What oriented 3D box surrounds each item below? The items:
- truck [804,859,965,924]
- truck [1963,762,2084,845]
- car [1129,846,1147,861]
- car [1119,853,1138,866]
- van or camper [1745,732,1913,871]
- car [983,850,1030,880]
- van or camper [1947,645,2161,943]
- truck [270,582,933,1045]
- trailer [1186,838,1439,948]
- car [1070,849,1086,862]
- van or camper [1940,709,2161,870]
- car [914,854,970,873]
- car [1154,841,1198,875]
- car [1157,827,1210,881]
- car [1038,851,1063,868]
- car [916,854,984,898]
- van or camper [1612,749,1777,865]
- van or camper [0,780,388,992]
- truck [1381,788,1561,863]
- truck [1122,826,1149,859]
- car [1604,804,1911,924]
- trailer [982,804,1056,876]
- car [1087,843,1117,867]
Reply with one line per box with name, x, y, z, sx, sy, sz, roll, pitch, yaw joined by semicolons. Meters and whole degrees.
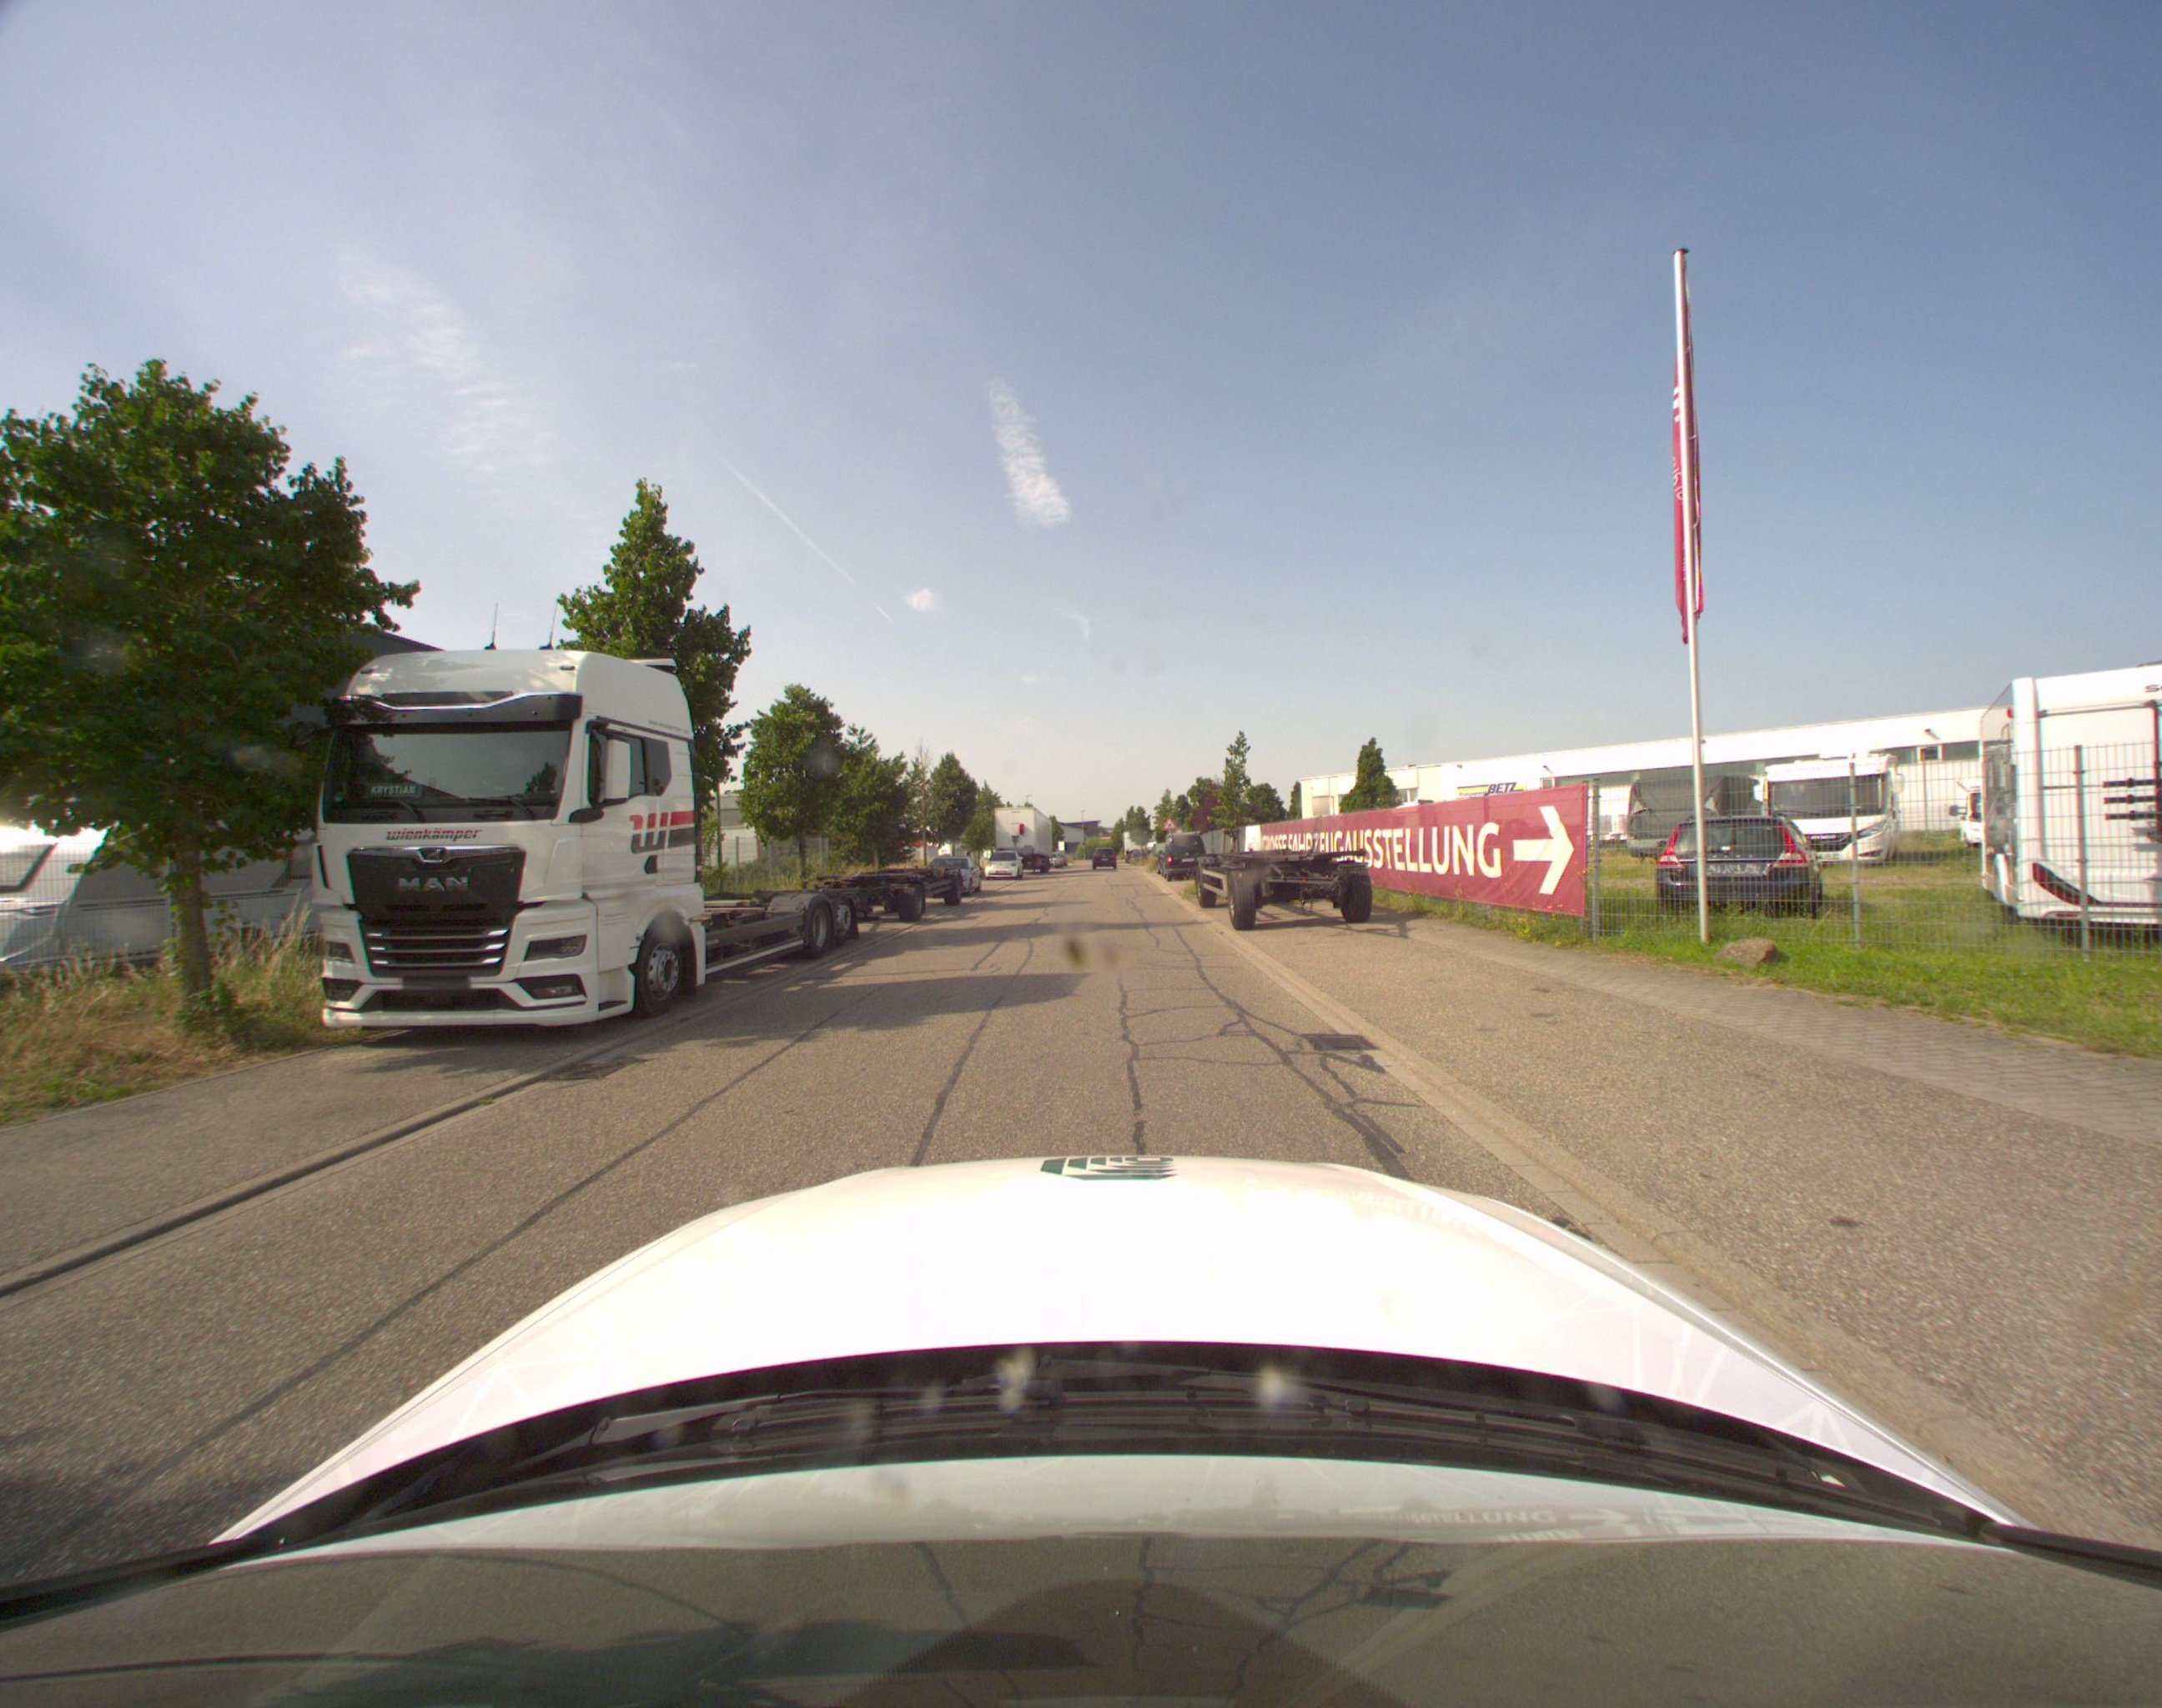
truck;-4.938;0.883;21.795;2.515;1.265;6.529;-2;1;1
truck;32.554;-1.677;28.343;8.047;2.471;2.429;-3;1;-42
car;6.014;-0.081;85.790;1.810;1.449;3.805;-3;1;4
car;7.069;0.757;121.256;1.979;1.772;4.016;-2;0;14
van or camper;20.285;-1.307;21.886;8.016;3.084;2.773;-3;1;-44
car;-3.897;0.549;43.109;1.803;1.427;4.004;-2;0;3
van or camper;12.409;-0.678;9.818;6.665;2.751;2.460;-3;1;-45
truck;-5.328;-0.368;13.482;2.615;3.929;12.930;-1;0;3
trailer;3.910;0.533;16.376;2.613;1.388;9.459;-4;0;2
car;-0.422;0.169;113.677;1.986;1.772;4.002;-2;0;2
van or camper;22.655;-1.377;19.394;8.016;3.084;2.922;-3;1;-44
car;-10.873;0.756;63.685;3.964;1.340;1.621;-2;1;8
car;4.601;0.154;39.861;1.810;1.449;3.805;-5;1;4
car;4.271;-0.024;34.366;1.810;1.978;4.004;-5;1;4
car;-3.064;0.521;82.155;1.984;1.523;4.006;-2;0;5
car;-4.711;0.740;29.807;1.880;1.436;3.998;-2;0;-2
van or camper;18.810;-1.366;24.805;6.832;3.084;2.639;-3;1;-41
van or camper;-13.770;0.414;12.315;2.299;2.560;4.951;-2;0;-1
truck;22.850;-1.529;48.228;9.198;3.972;2.473;-1;1;45
truck;6.506;-1.293;96.680;2.874;3.586;8.070;-3;0;4
car;10.133;0.082;12.201;4.010;1.476;2.153;-2;0;-28
trailer;-4.035;-0.903;57.264;3.390;4.340;13.928;-2;0;2
car;1.618;0.037;64.530;1.990;1.804;3.994;-2;1;-4
